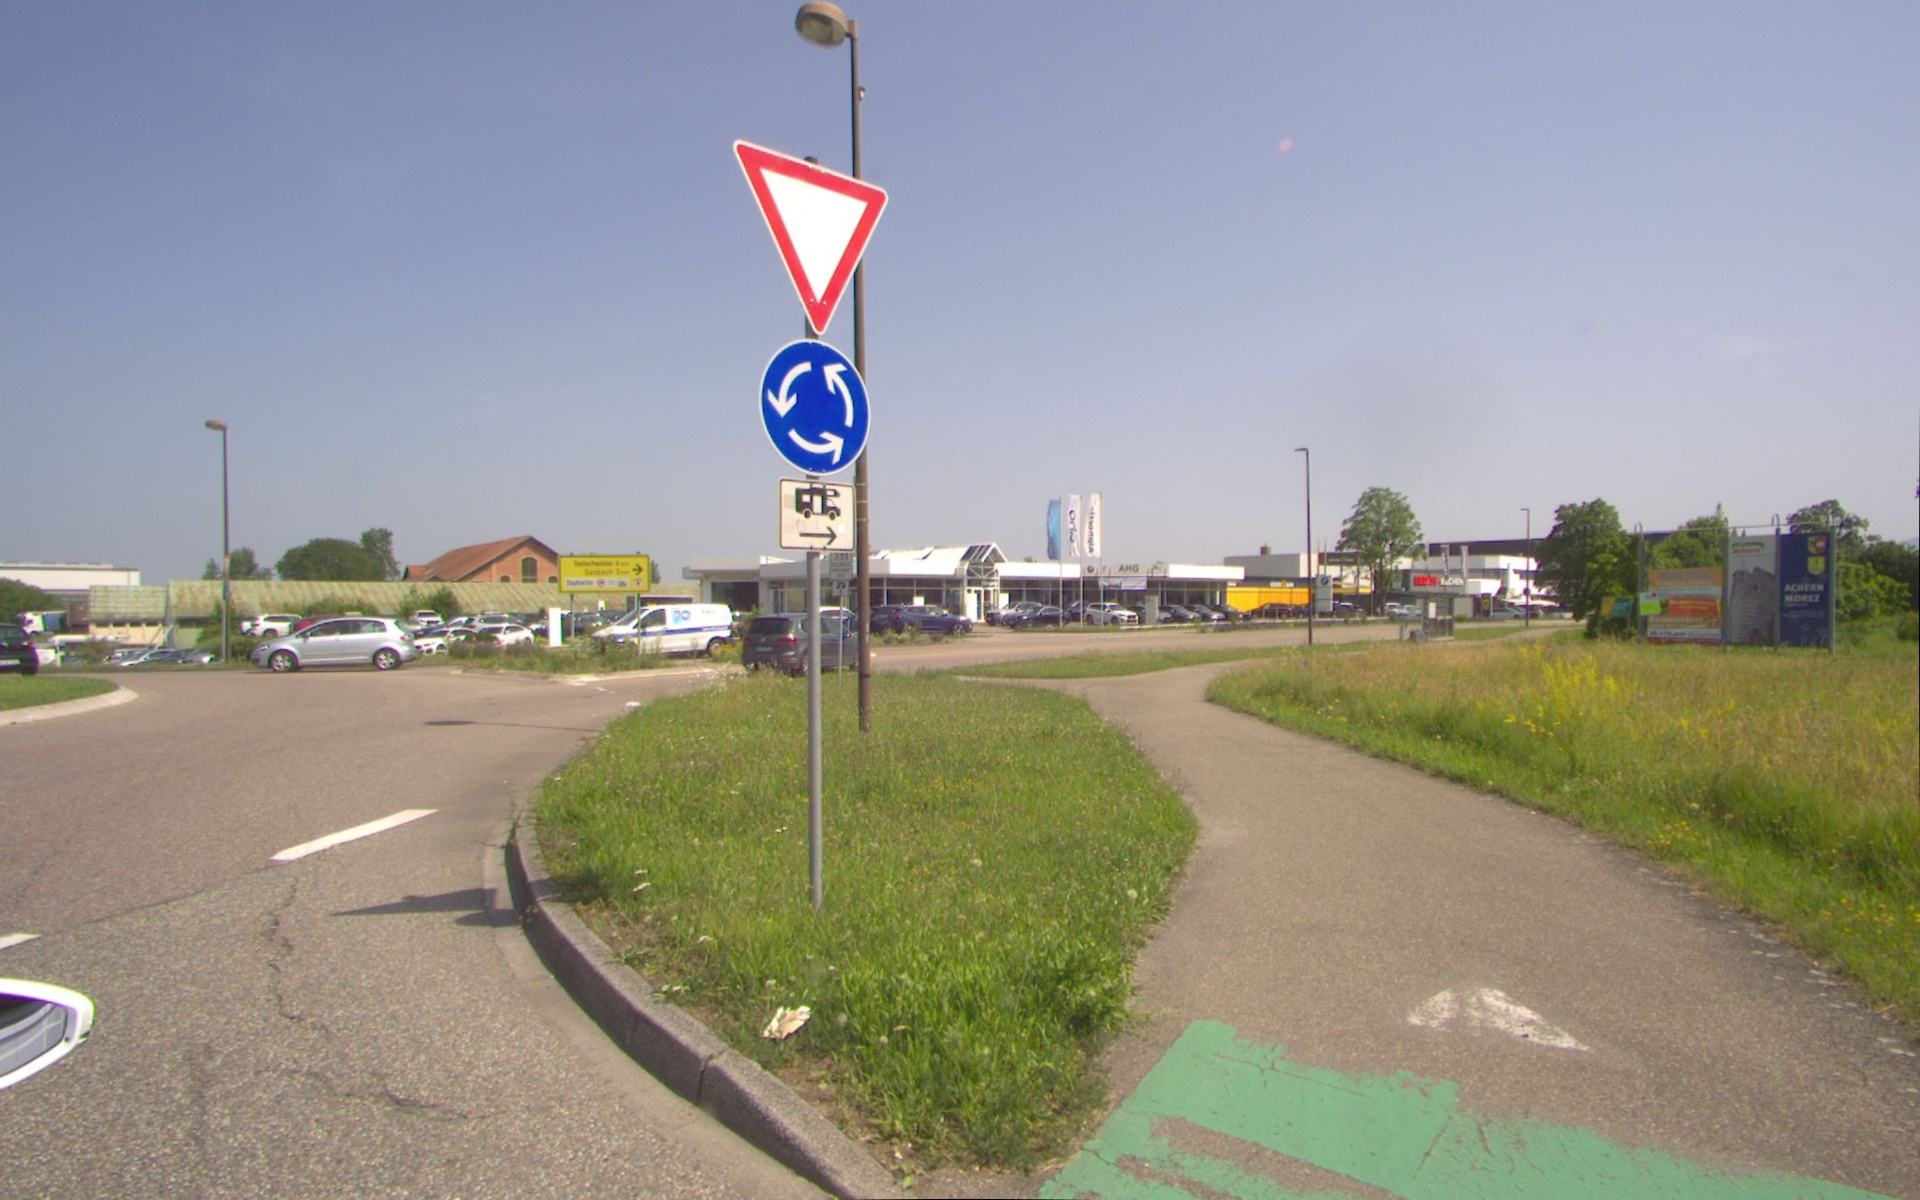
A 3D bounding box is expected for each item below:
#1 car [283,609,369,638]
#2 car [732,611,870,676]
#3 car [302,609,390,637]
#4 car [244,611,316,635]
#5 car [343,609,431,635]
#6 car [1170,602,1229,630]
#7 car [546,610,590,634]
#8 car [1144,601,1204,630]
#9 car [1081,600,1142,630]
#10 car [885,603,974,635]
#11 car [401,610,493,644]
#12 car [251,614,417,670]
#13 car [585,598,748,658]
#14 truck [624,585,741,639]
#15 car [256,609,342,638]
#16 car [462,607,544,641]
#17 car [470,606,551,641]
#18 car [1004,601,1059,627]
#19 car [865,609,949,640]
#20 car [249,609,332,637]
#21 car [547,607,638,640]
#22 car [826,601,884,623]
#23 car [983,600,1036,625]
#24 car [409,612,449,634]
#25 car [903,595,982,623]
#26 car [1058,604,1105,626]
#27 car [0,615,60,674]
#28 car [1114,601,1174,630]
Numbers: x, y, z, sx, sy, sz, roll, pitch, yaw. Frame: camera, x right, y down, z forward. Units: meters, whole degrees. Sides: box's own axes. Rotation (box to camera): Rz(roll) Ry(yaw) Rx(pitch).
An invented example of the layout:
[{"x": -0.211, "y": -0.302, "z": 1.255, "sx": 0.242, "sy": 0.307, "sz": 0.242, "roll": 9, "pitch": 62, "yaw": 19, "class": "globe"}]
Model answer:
[{"x": -40.807, "y": 1.490, "z": 64.496, "sx": 4.422, "sy": 1.770, "sz": 1.932, "roll": -1, "pitch": 0, "yaw": -43, "class": "car"}, {"x": -4.019, "y": 1.064, "z": 26.035, "sx": 1.743, "sy": 1.503, "sz": 4.031, "roll": -1, "pitch": 0, "yaw": 21, "class": "car"}, {"x": -38.622, "y": 1.416, "z": 63.062, "sx": 4.422, "sy": 1.656, "sz": 1.932, "roll": -1, "pitch": 0, "yaw": -43, "class": "car"}, {"x": -46.797, "y": 1.563, "z": 68.946, "sx": 3.847, "sy": 1.553, "sz": 1.752, "roll": -1, "pitch": 0, "yaw": -43, "class": "car"}, {"x": -35.678, "y": 1.350, "z": 62.429, "sx": 4.422, "sy": 1.520, "sz": 1.931, "roll": -1, "pitch": 0, "yaw": -43, "class": "car"}, {"x": 18.704, "y": 1.268, "z": 78.308, "sx": 1.977, "sy": 2.039, "sz": 4.229, "roll": 1, "pitch": -3, "yaw": -38, "class": "car"}, {"x": -27.252, "y": 1.491, "z": 69.684, "sx": 1.626, "sy": 1.607, "sz": 4.267, "roll": -1, "pitch": 0, "yaw": -4, "class": "car"}, {"x": 16.280, "y": 1.217, "z": 76.395, "sx": 1.977, "sy": 2.039, "sz": 4.229, "roll": 1, "pitch": -3, "yaw": -38, "class": "car"}, {"x": 11.020, "y": 1.134, "z": 72.956, "sx": 1.977, "sy": 2.039, "sz": 4.229, "roll": 1, "pitch": -3, "yaw": -38, "class": "car"}, {"x": -1.589, "y": 0.939, "z": 51.449, "sx": 4.293, "sy": 1.532, "sz": 1.908, "roll": -1, "pitch": 0, "yaw": -10, "class": "car"}, {"x": -27.149, "y": 1.394, "z": 53.148, "sx": 1.736, "sy": 1.591, "sz": 4.572, "roll": -2, "pitch": 0, "yaw": 14, "class": "car"}, {"x": -18.411, "y": 1.224, "z": 29.686, "sx": 4.025, "sy": 1.549, "sz": 1.778, "roll": 1, "pitch": -2, "yaw": -28, "class": "car"}, {"x": -10.165, "y": 0.986, "z": 34.876, "sx": 5.167, "sy": 1.962, "sz": 1.848, "roll": 1, "pitch": -2, "yaw": -37, "class": "car"}, {"x": -14.534, "y": 0.594, "z": 52.656, "sx": 5.558, "sy": 2.700, "sz": 1.935, "roll": -1, "pitch": 0, "yaw": -37, "class": "truck"}, {"x": -43.358, "y": 1.519, "z": 65.737, "sx": 4.422, "sy": 1.770, "sz": 1.822, "roll": -1, "pitch": 0, "yaw": -43, "class": "car"}, {"x": -26.973, "y": 1.385, "z": 59.099, "sx": 3.966, "sy": 1.774, "sz": 1.931, "roll": -2, "pitch": 1, "yaw": -43, "class": "car"}, {"x": -24.282, "y": 1.222, "z": 54.297, "sx": 1.734, "sy": 1.592, "sz": 4.661, "roll": -1, "pitch": 2, "yaw": 8, "class": "car"}, {"x": 4.836, "y": 0.951, "z": 67.628, "sx": 3.657, "sy": 1.675, "sz": 1.569, "roll": 1, "pitch": -3, "yaw": -40, "class": "car"}, {"x": -2.858, "y": 1.276, "z": 53.630, "sx": 4.293, "sy": 1.532, "sz": 1.908, "roll": -1, "pitch": 0, "yaw": -10, "class": "car"}, {"x": -45.008, "y": 1.547, "z": 67.378, "sx": 4.422, "sy": 1.770, "sz": 1.822, "roll": -1, "pitch": 0, "yaw": -43, "class": "car"}, {"x": -20.689, "y": 1.311, "z": 56.472, "sx": 4.379, "sy": 1.520, "sz": 1.932, "roll": -4, "pitch": 1, "yaw": -43, "class": "car"}, {"x": -8.075, "y": 0.895, "z": 77.062, "sx": 3.992, "sy": 1.607, "sz": 1.895, "roll": -1, "pitch": 0, "yaw": -37, "class": "car"}, {"x": 3.485, "y": 0.908, "z": 70.381, "sx": 3.657, "sy": 1.675, "sz": 1.569, "roll": 1, "pitch": -3, "yaw": -40, "class": "car"}, {"x": -41.290, "y": 1.811, "z": 77.818, "sx": 1.901, "sy": 1.617, "sz": 4.268, "roll": -1, "pitch": 0, "yaw": -40, "class": "car"}, {"x": -1.038, "y": 0.516, "z": 57.643, "sx": 4.293, "sy": 1.532, "sz": 1.908, "roll": -1, "pitch": 0, "yaw": -10, "class": "car"}, {"x": 9.619, "y": 1.202, "z": 79.189, "sx": 3.657, "sy": 1.675, "sz": 1.569, "roll": 1, "pitch": -3, "yaw": -40, "class": "car"}, {"x": -26.987, "y": 1.236, "z": 27.499, "sx": 3.931, "sy": 1.549, "sz": 1.782, "roll": -1, "pitch": -2, "yaw": 21, "class": "car"}, {"x": 13.733, "y": 1.183, "z": 74.889, "sx": 1.977, "sy": 2.039, "sz": 4.229, "roll": 1, "pitch": -3, "yaw": -38, "class": "car"}]
